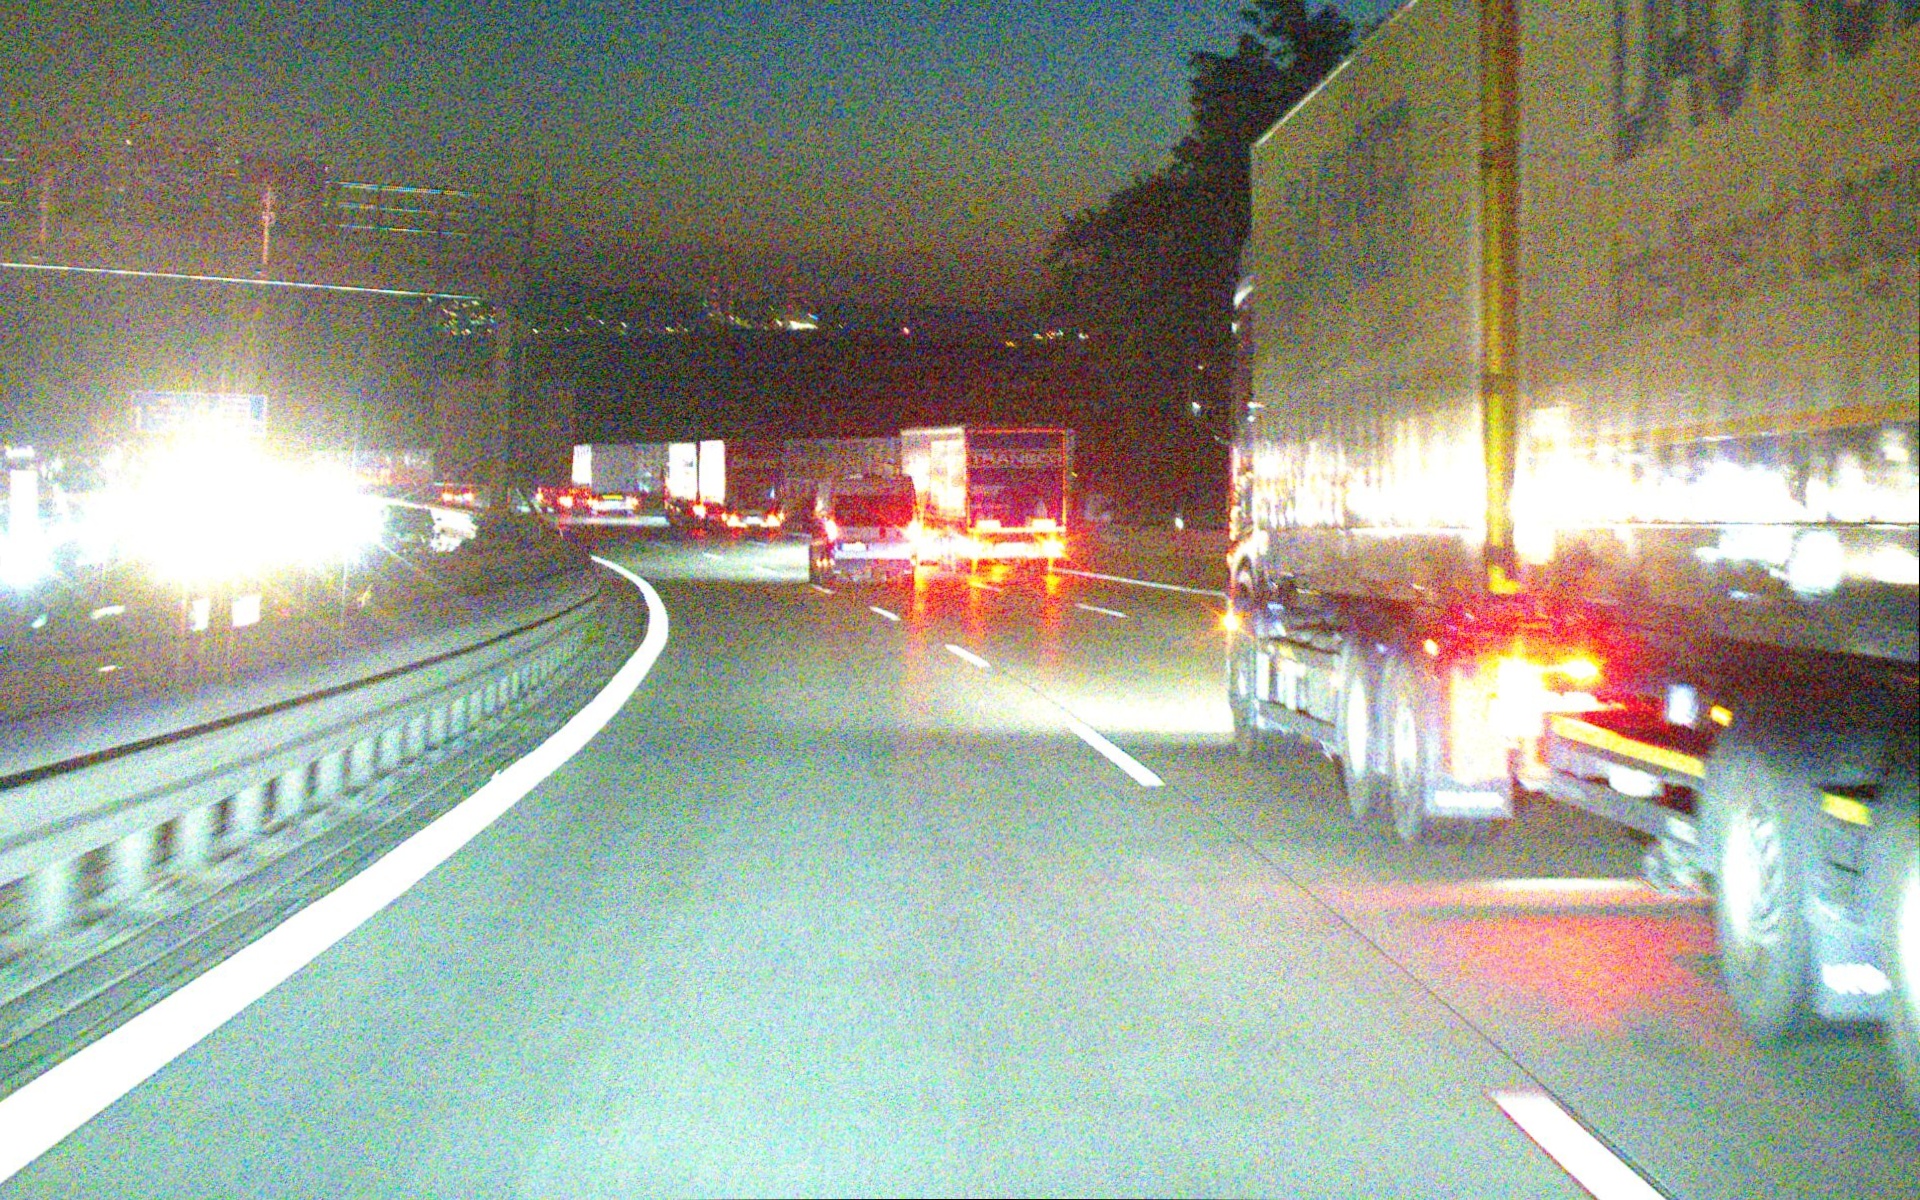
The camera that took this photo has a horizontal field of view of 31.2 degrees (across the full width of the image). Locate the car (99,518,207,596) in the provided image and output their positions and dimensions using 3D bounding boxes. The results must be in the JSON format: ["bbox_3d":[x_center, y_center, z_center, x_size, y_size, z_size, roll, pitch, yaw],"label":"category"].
[{"bbox_3d":[-16.340,-0.895,69.743,1.640,1.534,4.001,-1,1,-6],"label":"car"}]

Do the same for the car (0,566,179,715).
[{"bbox_3d":[-9.066,0.368,34.895,1.754,1.350,4.293,-1,1,-7],"label":"car"}]

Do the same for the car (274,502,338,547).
[{"bbox_3d":[-22.547,-2.616,118.637,1.903,1.487,4.869,0,2,-8],"label":"car"}]

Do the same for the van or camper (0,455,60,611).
[{"bbox_3d":[-19.843,-1.406,69.253,2.222,2.993,7.126,0,2,-6],"label":"van or camper"}]

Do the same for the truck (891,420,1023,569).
[{"bbox_3d":[-0.156,-3.045,97.835,2.861,4.062,7.513,0,2,-7],"label":"truck"}]

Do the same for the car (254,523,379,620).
[{"bbox_3d":[-10.977,-0.507,58.820,1.680,1.560,4.001,-1,1,-5],"label":"car"}]

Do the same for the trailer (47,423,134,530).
[{"bbox_3d":[-36.054,-5.144,142.862,2.839,4.157,13.289,-3,3,-12],"label":"trailer"}]

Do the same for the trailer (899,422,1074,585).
[{"bbox_3d":[0.554,-2.678,92.483,2.853,4.053,13.209,0,2,-8],"label":"trailer"}]

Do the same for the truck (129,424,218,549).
[{"bbox_3d":[-27.064,-3.920,118.495,2.864,4.196,6.109,0,2,-12],"label":"truck"}]

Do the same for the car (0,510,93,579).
[{"bbox_3d":[-22.524,-1.364,84.506,1.926,1.648,4.738,0,1,-9],"label":"car"}]

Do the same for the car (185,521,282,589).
[{"bbox_3d":[-16.512,-1.037,78.270,1.699,1.458,3.482,0,2,-4],"label":"car"}]

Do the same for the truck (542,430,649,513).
[{"bbox_3d":[-21.030,-7.420,197.438,3.343,4.460,13.915,2,2,-17],"label":"truck"}]

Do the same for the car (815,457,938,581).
[{"bbox_3d":[-1.820,-1.764,76.808,2.337,2.631,5.247,1,0,3],"label":"car"}]

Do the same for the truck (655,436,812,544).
[{"bbox_3d":[-10.661,-5.039,158.394,3.914,4.611,21.026,-1,2,-13],"label":"truck"}]

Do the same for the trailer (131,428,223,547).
[{"bbox_3d":[-28.920,-4.250,127.458,2.875,4.169,14.529,0,2,-11],"label":"trailer"}]

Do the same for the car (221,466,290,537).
[{"bbox_3d":[-19.723,-2.736,96.367,1.675,1.844,4.113,3,0,-10],"label":"car"}]

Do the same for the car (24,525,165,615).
[{"bbox_3d":[-14.944,-0.555,59.546,1.640,1.478,4.364,-1,1,-4],"label":"car"}]

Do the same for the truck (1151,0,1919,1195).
[{"bbox_3d":[3.423,-0.903,14.845,3.482,4.121,18.710,1,0,-2],"label":"truck"}]

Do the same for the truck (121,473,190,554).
[{"bbox_3d":[-25.137,-2.729,107.491,1.993,2.449,5.052,-1,2,-12],"label":"truck"}]

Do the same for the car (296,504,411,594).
[{"bbox_3d":[-12.153,-1.046,69.127,1.807,1.735,4.869,-1,1,-4],"label":"car"}]

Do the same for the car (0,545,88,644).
[{"bbox_3d":[-13.986,-0.106,50.669,1.533,1.331,4.221,-1,2,-5],"label":"car"}]

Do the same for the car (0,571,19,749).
[{"bbox_3d":[-8.117,0.526,24.639,1.754,1.350,4.636,-1,2,-4],"label":"car"}]

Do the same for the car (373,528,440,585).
[{"bbox_3d":[-12.969,-1.038,80.690,1.418,1.252,3.130,0,2,-7],"label":"car"}]
